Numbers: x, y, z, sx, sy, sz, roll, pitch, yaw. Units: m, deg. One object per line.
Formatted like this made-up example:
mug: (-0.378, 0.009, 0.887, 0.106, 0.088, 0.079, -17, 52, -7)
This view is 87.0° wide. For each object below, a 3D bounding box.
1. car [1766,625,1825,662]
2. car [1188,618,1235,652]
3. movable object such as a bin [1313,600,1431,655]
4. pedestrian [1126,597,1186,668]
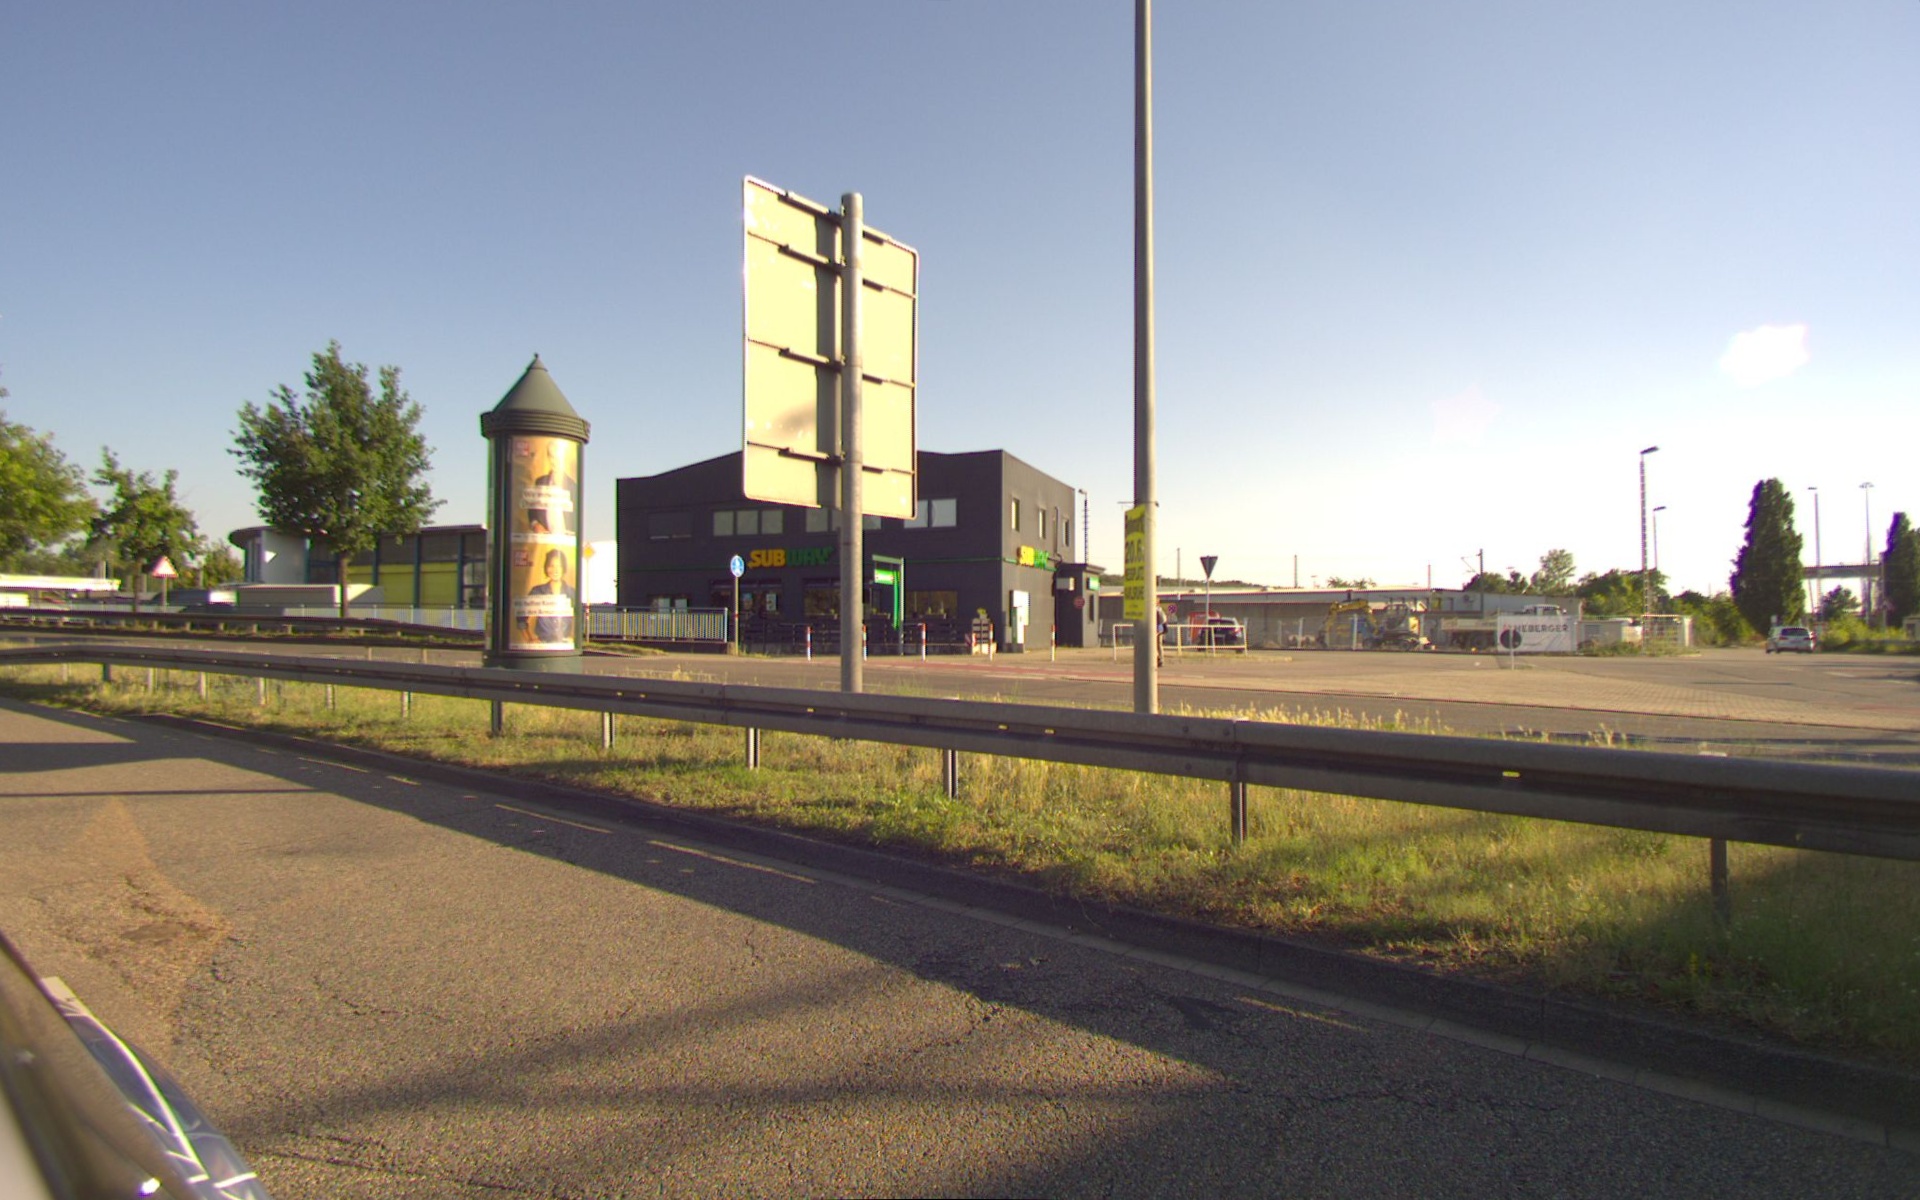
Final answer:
car: (50.469, 2.572, 61.196, 1.991, 2.029, 3.961, -1, 0, 29)
car: (15.982, 2.183, 64.099, 1.991, 2.029, 3.962, -1, 0, 28)
movable object such as a bin: (25.322, 1.645, 62.398, 6.587, 3.241, 2.428, -1, 0, 23)
pedestrian: (5.298, 0.865, 27.374, 1.085, 1.849, 1.258, -1, 0, 42)
